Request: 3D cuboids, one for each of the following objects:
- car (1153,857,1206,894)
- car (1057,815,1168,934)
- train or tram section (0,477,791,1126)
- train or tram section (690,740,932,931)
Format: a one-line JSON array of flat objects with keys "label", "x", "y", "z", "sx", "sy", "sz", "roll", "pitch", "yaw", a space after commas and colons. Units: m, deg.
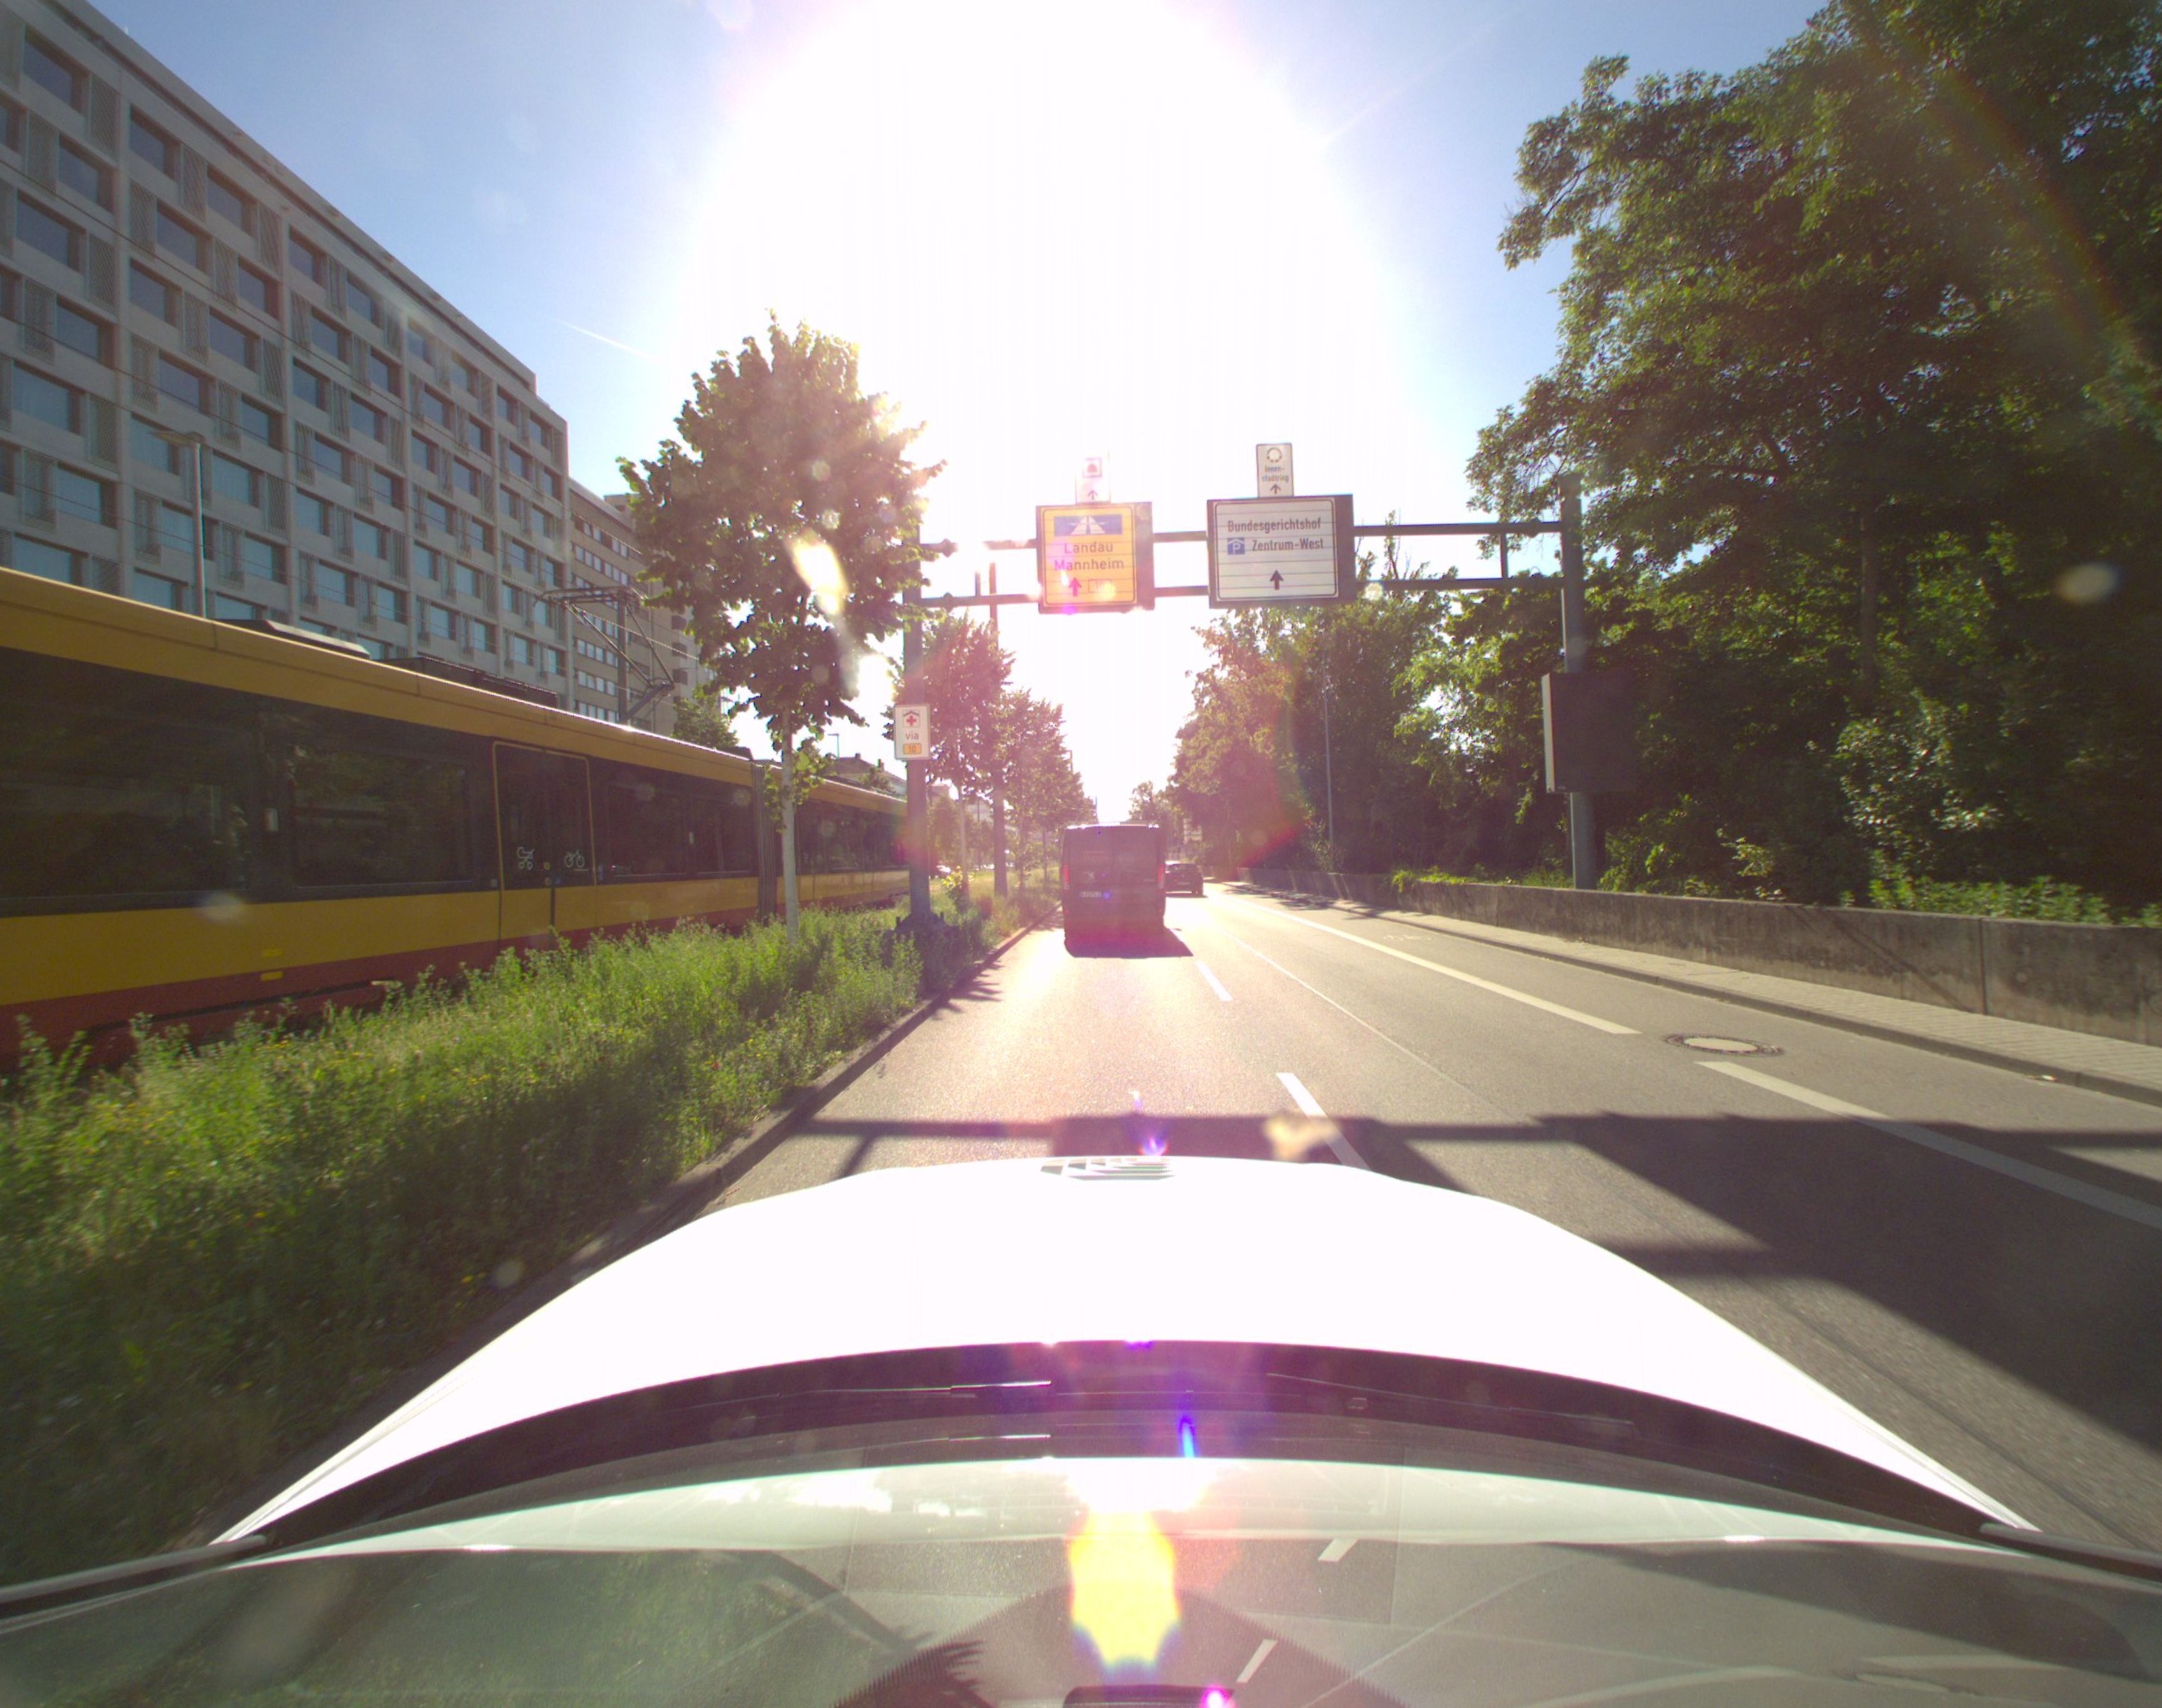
[{"label": "car", "x": 4.121, "y": 0.877, "z": 34.602, "sx": 1.757, "sy": 1.462, "sz": 3.999, "roll": -1, "pitch": -1, "yaw": 0}, {"label": "car", "x": 0.657, "y": 0.409, "z": 17.498, "sx": 2.074, "sy": 2.249, "sz": 4.001, "roll": -1, "pitch": -1, "yaw": 2}, {"label": "train or tram section", "x": -6.867, "y": -0.243, "z": 10.146, "sx": 1.986, "sy": 3.669, "sz": 11.322, "roll": -1, "pitch": -1, "yaw": 2}, {"label": "train or tram section", "x": -6.299, "y": -0.307, "z": 21.610, "sx": 1.985, "sy": 3.669, "sz": 11.691, "roll": -1, "pitch": -1, "yaw": 3}]
